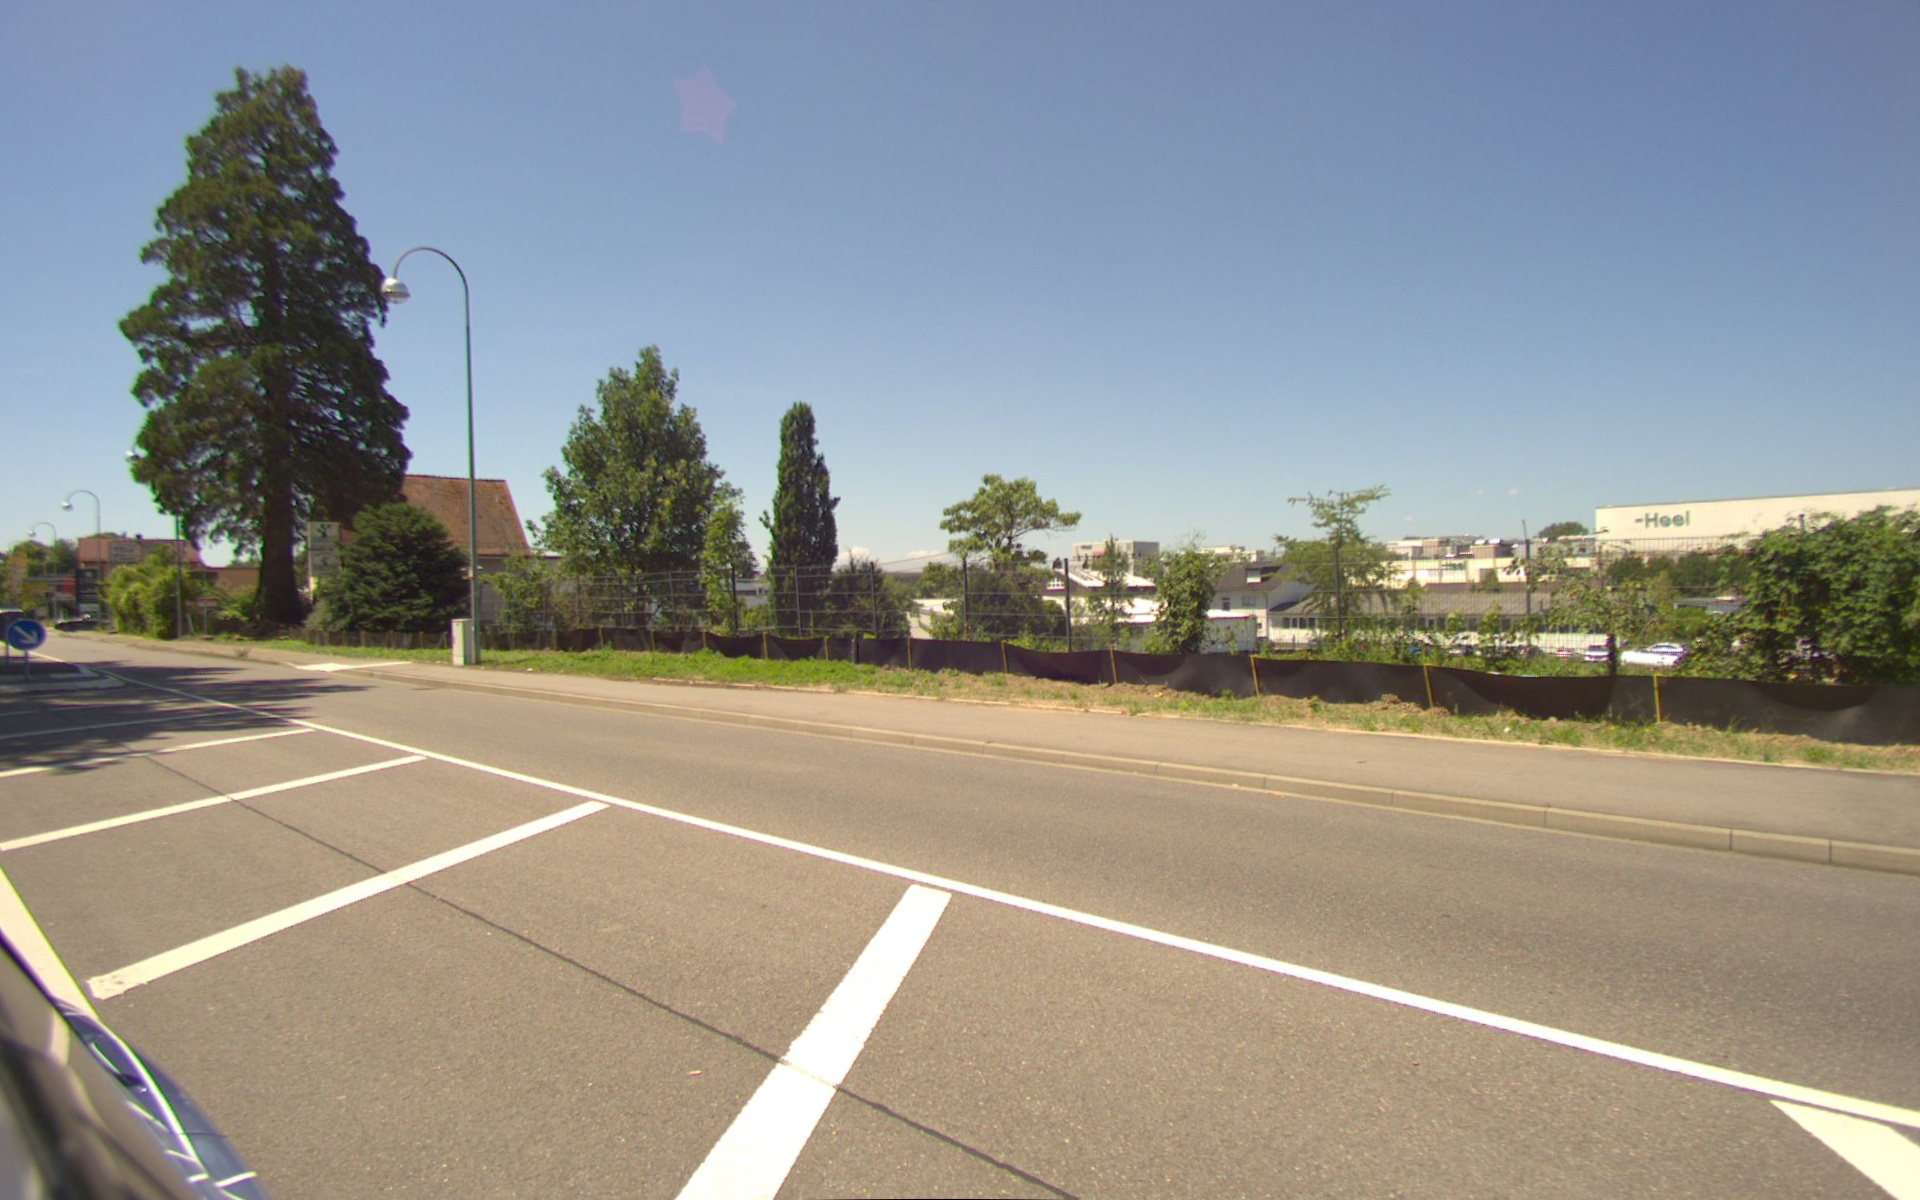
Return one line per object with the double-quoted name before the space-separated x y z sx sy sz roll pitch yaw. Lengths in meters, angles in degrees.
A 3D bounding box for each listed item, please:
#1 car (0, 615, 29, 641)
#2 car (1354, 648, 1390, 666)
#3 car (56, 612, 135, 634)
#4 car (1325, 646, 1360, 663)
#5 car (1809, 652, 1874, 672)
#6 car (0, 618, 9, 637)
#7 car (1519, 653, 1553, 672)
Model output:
"car" -61.825 1.799 65.556 4.687 1.657 1.764 -1 -2 42
"car" 42.053 5.787 103.300 2.001 1.586 3.941 -1 0 45
"car" -64.879 1.735 76.049 4.246 1.561 1.891 0 0 -29
"car" 39.947 5.676 105.634 2.001 1.586 3.941 -1 0 45
"car" 75.389 5.256 86.570 1.969 1.519 4.005 0 -1 -41
"car" -78.213 2.217 81.606 4.320 1.561 1.859 -1 -1 42
"car" 52.517 5.662 92.259 1.998 1.519 3.947 -1 -1 39
